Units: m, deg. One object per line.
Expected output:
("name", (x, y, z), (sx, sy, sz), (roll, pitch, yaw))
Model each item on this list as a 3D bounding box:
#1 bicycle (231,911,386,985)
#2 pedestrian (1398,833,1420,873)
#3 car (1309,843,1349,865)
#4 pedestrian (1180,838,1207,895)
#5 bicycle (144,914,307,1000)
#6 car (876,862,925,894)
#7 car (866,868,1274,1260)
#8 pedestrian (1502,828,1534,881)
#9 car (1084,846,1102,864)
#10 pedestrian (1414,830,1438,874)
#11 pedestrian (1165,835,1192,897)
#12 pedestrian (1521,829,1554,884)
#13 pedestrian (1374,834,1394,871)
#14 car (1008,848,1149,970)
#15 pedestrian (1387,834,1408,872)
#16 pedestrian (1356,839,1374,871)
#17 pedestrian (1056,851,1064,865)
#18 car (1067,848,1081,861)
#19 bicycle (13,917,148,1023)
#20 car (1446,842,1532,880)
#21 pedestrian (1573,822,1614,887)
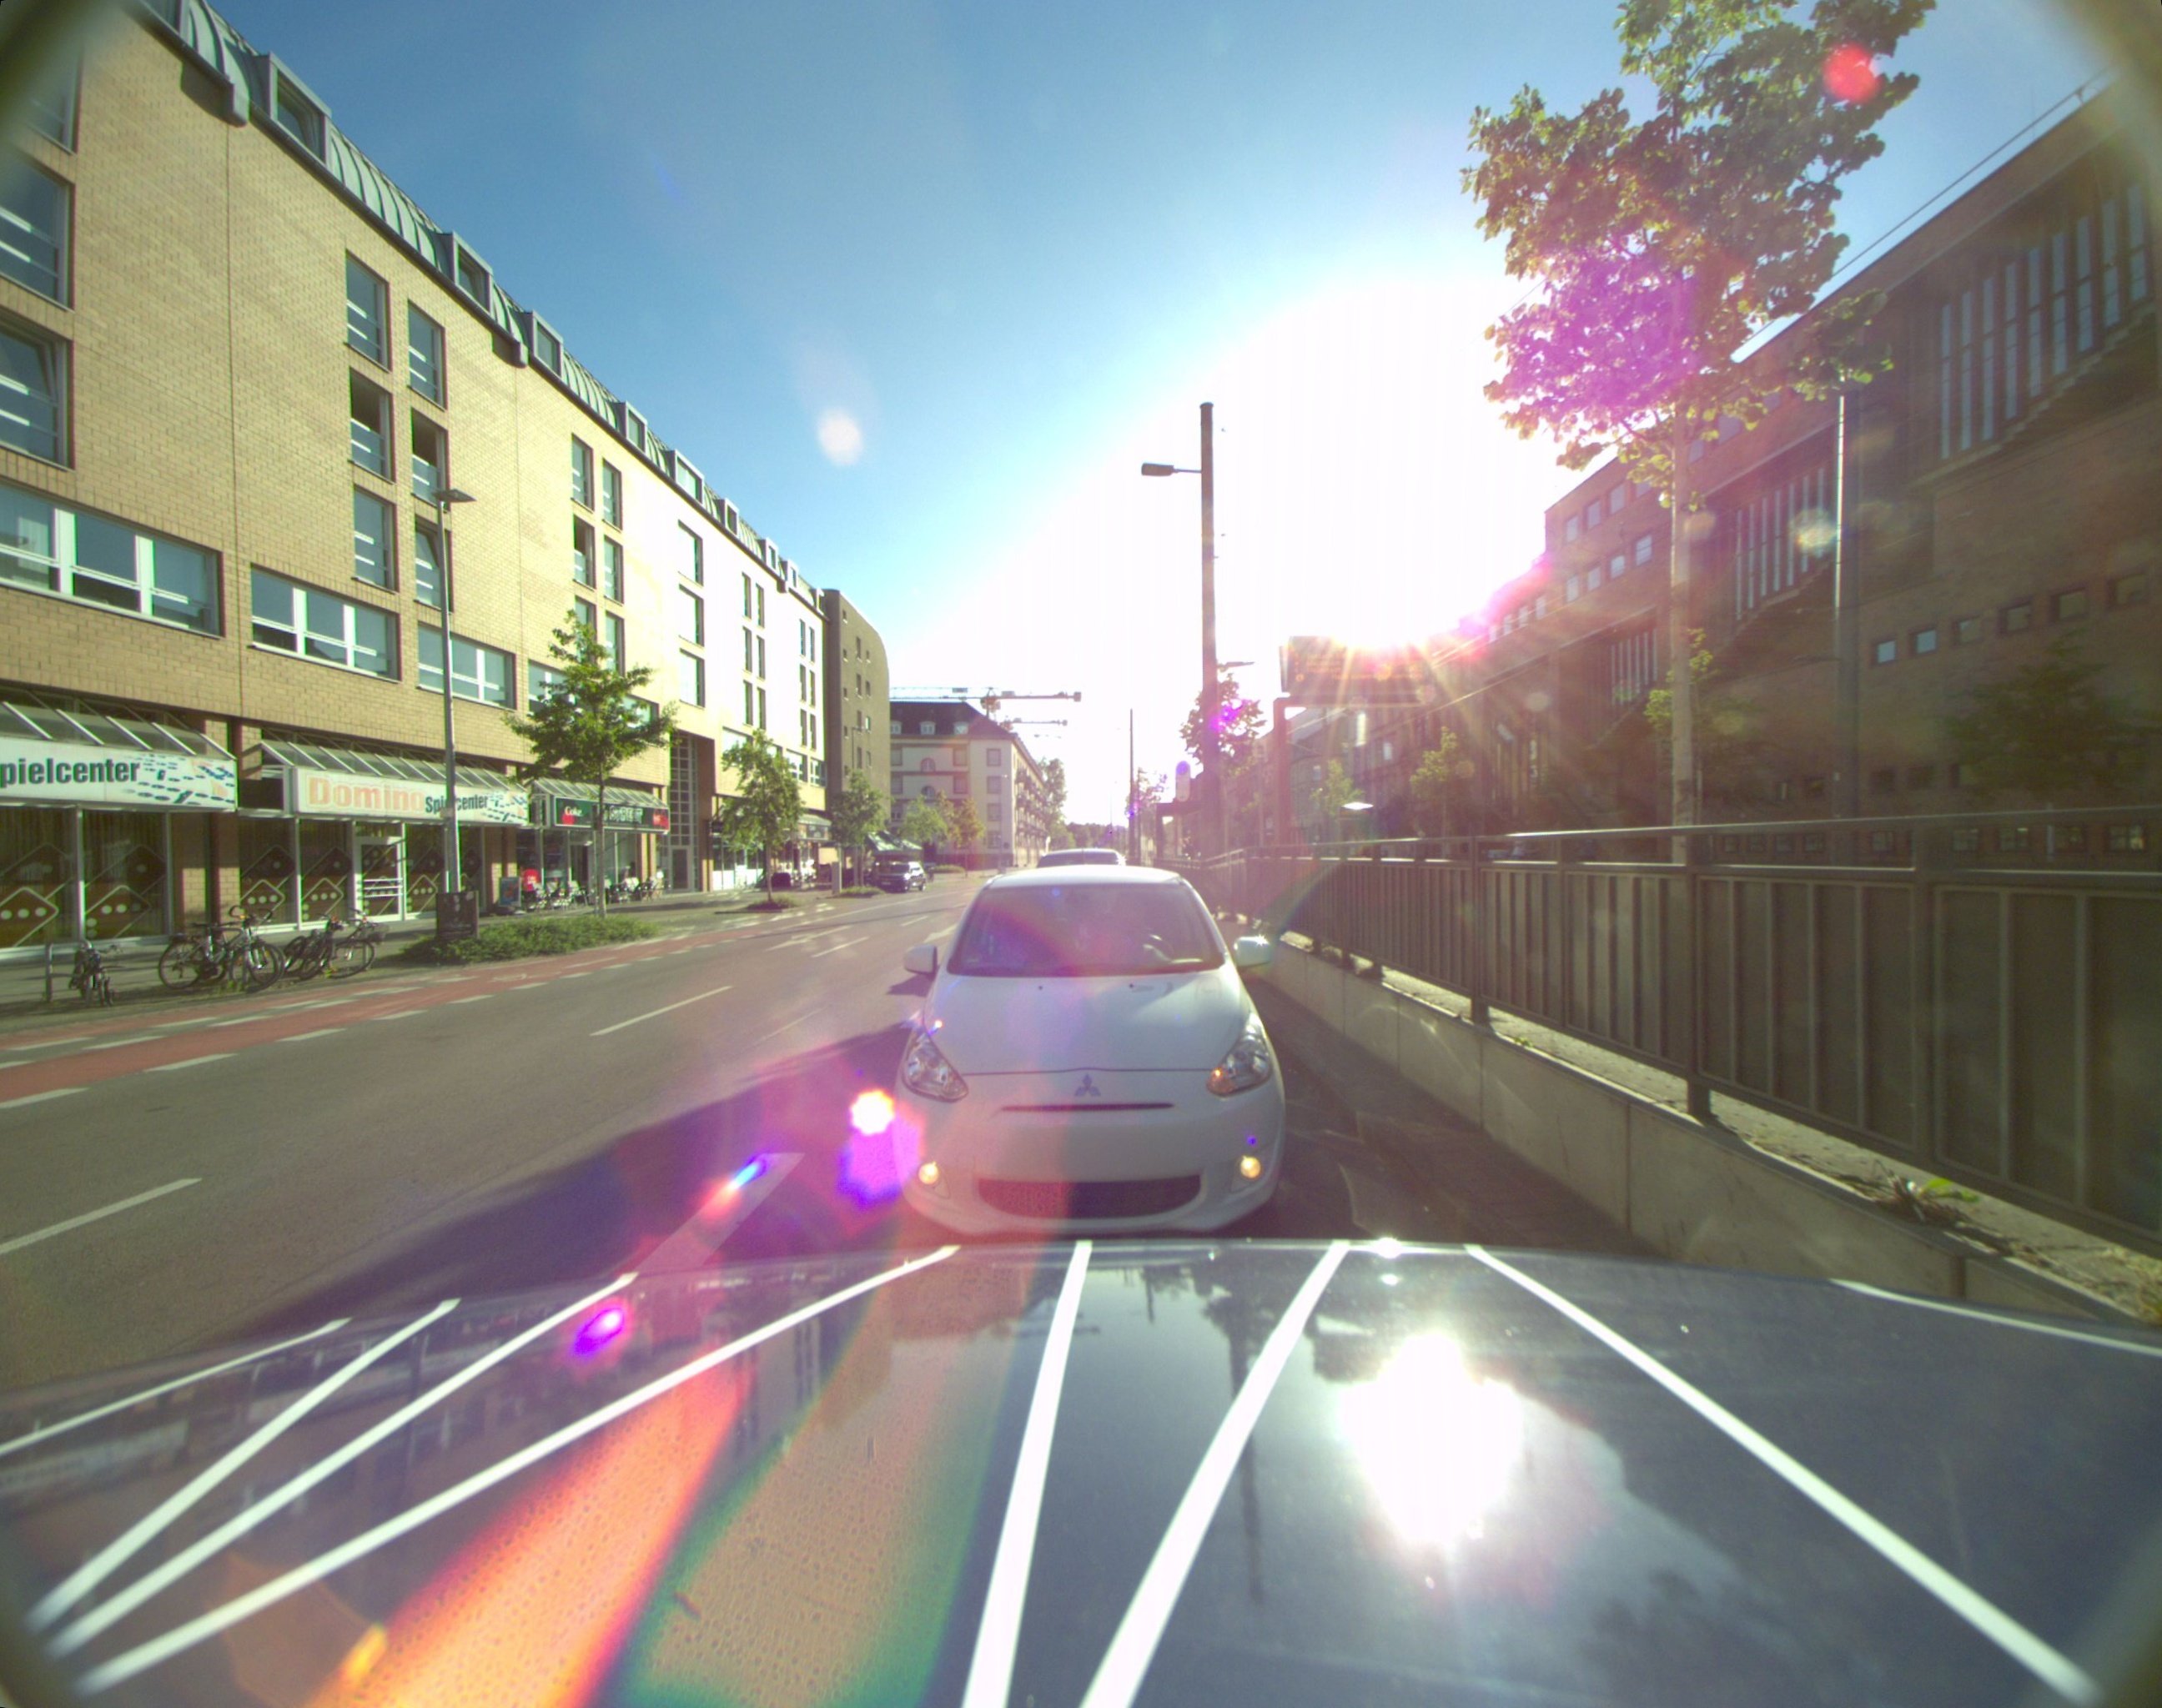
("bicycle", (-12.395, 1.497, 12.228), (1.774, 1.065, 0.737), (0, 2, 3))
("pedestrian", (14.447, -0.029, 33.435), (0.692, 1.732, 0.586), (-1, 1, -2))
("car", (17.527, 0.022, 53.865), (1.702, 1.477, 3.704), (-1, 0, 1))
("pedestrian", (4.028, 0.441, 27.271), (0.784, 2.002, 0.880), (-1, 1, -1))
("bicycle", (-12.357, 1.469, 10.997), (1.774, 1.135, 0.553), (0, 2, 3))
("car", (-9.804, 1.256, 41.557), (1.655, 1.521, 3.693), (-2, 1, 1))
("car", (-0.016, 0.915, 5.246), (1.640, 1.458, 4.186), (-2, 1, 1))
("pedestrian", (14.457, 0.026, 25.147), (0.692, 1.732, 0.586), (-1, 1, -2))
("car", (1.367, 0.079, 87.004), (1.998, 1.958, 4.000), (-1, 0, 1))
("pedestrian", (13.834, -0.079, 30.489), (0.692, 1.732, 0.586), (-1, 1, -2))
("pedestrian", (3.235, 0.400, 25.174), (0.784, 2.002, 0.880), (-1, 1, 2))
("pedestrian", (14.587, 0.088, 24.276), (0.692, 1.732, 0.586), (-1, 1, -2))
("pedestrian", (14.389, -0.057, 36.123), (0.692, 1.732, 0.586), (-1, 1, -2))
("car", (-0.004, 0.773, 13.041), (1.955, 1.652, 4.355), (-2, 1, 1))
("pedestrian", (14.461, -0.045, 34.748), (0.692, 1.732, 0.586), (-1, 1, -2))
("pedestrian", (14.482, 0.049, 38.740), (0.692, 1.566, 0.586), (-1, 1, -2))
("pedestrian", (-2.376, 0.455, 86.784), (0.804, 1.656, 0.891), (-1, 1, -7))
("car", (-0.889, 0.010, 98.818), (1.829, 1.644, 3.682), (-1, 0, -1))
("bicycle", (-12.825, 1.449, 9.735), (1.771, 1.142, 0.554), (1, 2, 21))
("car", (17.213, 0.275, 32.245), (1.702, 1.477, 3.704), (-1, 0, 1))
("pedestrian", (13.929, 0.014, 20.668), (0.692, 1.732, 0.586), (-1, 1, -2))
